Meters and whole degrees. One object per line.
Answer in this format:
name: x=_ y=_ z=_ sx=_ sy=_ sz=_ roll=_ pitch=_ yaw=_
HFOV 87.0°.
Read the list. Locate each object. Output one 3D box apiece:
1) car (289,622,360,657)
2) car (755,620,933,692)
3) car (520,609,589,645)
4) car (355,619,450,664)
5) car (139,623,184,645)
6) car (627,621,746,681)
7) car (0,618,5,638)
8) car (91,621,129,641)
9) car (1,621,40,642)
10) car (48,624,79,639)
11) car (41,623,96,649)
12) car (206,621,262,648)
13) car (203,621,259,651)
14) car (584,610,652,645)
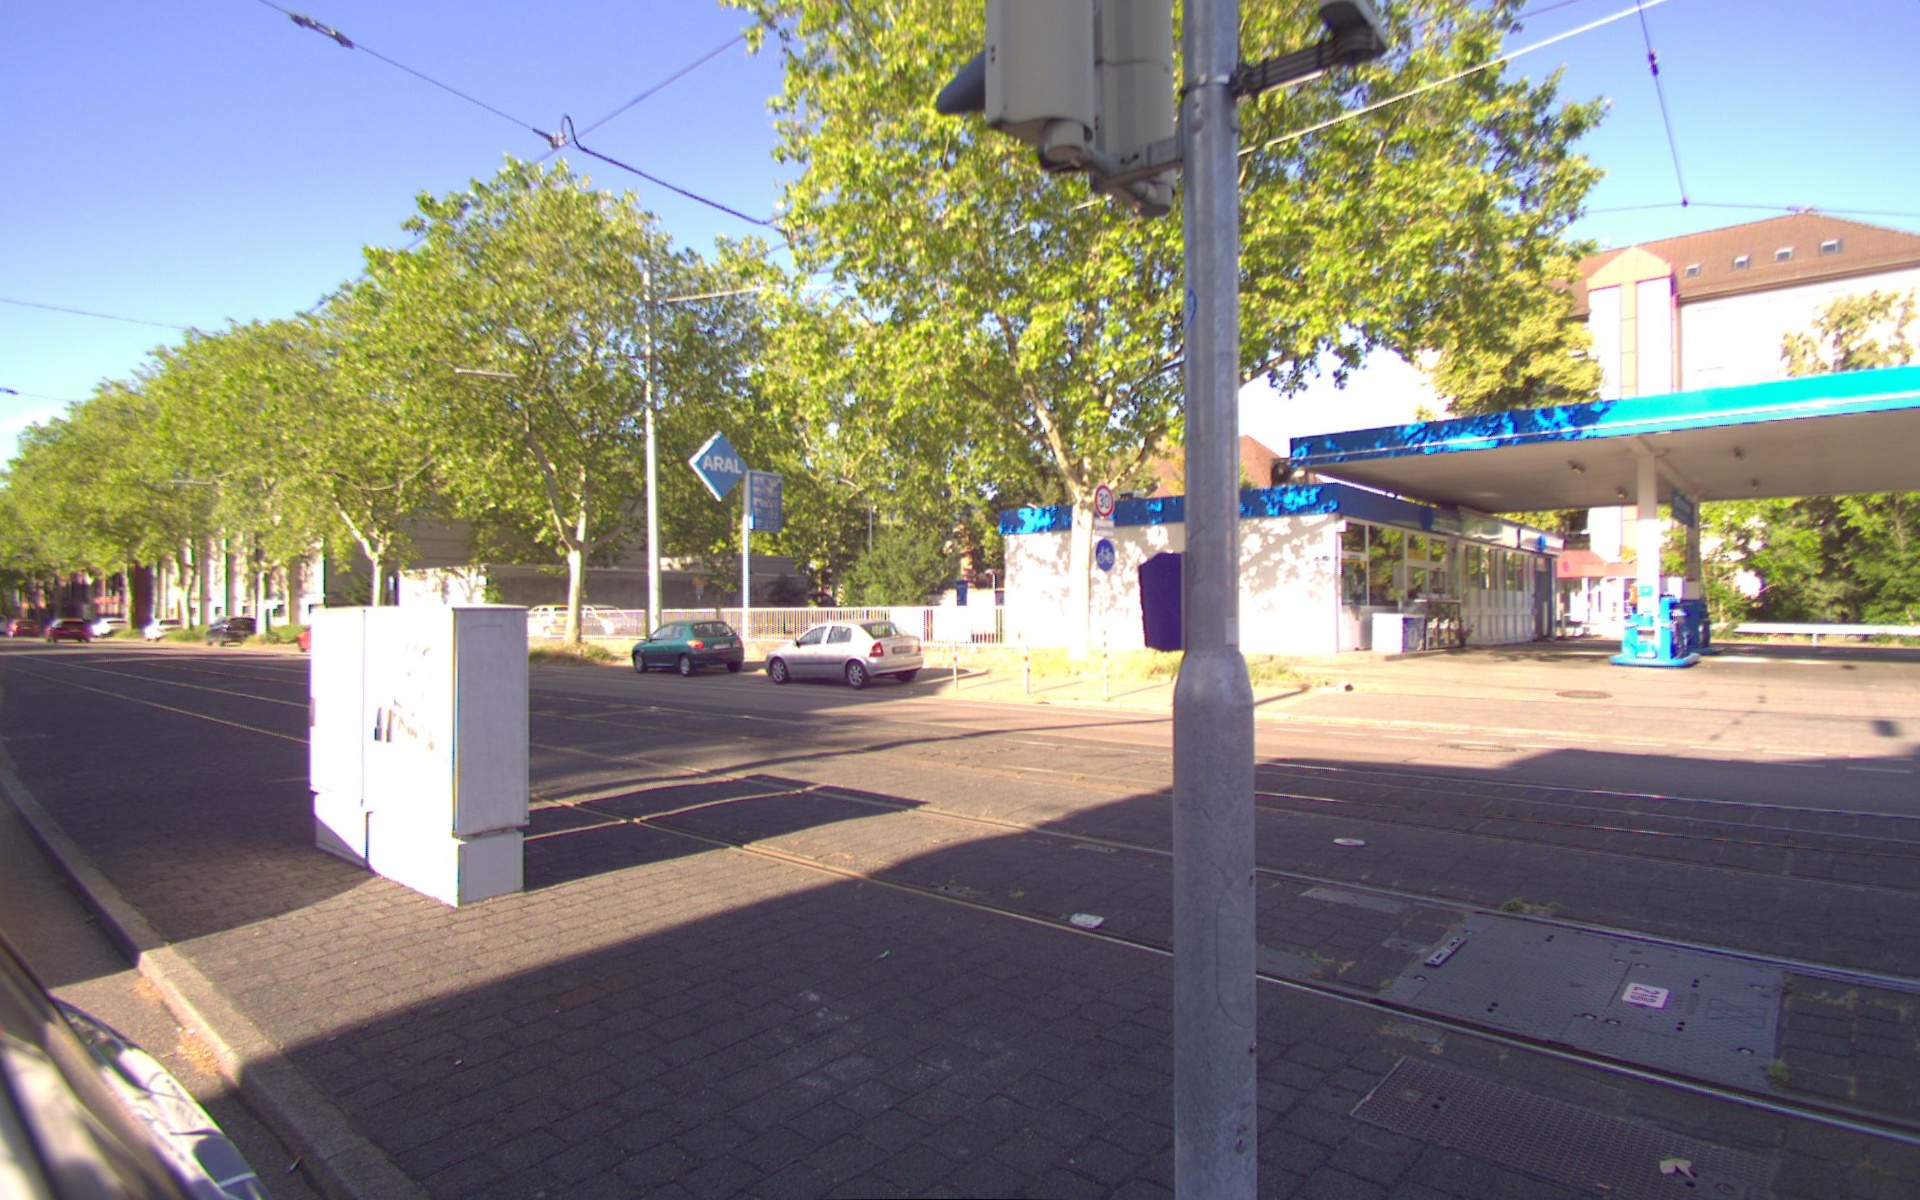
car: x=-29.062 y=1.779 z=46.247 sx=3.998 sy=1.480 sz=1.678 roll=0 pitch=-1 yaw=41
car: x=-2.655 y=1.183 z=22.642 sx=3.998 sy=1.431 sz=1.709 roll=-1 pitch=0 yaw=41
car: x=-16.858 y=1.097 z=41.986 sx=3.151 sy=1.431 sz=1.525 roll=-1 pitch=0 yaw=44
car: x=-22.150 y=1.607 z=40.144 sx=4.431 sy=1.534 sz=1.731 roll=-1 pitch=3 yaw=40
car: x=-53.814 y=2.293 z=68.184 sx=3.998 sy=1.420 sz=1.678 roll=-1 pitch=-2 yaw=41
car: x=-7.285 y=1.301 z=26.848 sx=3.253 sy=1.431 sz=1.526 roll=-1 pitch=0 yaw=41
car: x=-91.080 y=2.576 z=94.787 sx=4.390 sy=1.860 sz=1.827 roll=-1 pitch=-2 yaw=39
car: x=-66.816 y=2.417 z=79.531 sx=3.998 sy=1.569 sz=1.678 roll=-1 pitch=-2 yaw=41
car: x=-73.670 y=2.469 z=79.366 sx=3.998 sy=1.430 sz=1.678 roll=-1 pitch=-8 yaw=41
car: x=-85.189 y=2.977 z=96.145 sx=3.998 sy=1.420 sz=1.678 roll=-1 pitch=-2 yaw=41
car: x=-56.509 y=2.272 z=64.125 sx=4.761 sy=1.534 sz=1.887 roll=-1 pitch=-2 yaw=40
car: x=-40.603 y=1.889 z=56.562 sx=3.998 sy=1.420 sz=1.678 roll=-1 pitch=-2 yaw=41
car: x=-40.738 y=1.982 z=56.521 sx=3.998 sy=1.587 sz=1.678 roll=-1 pitch=-2 yaw=41
car: x=-14.704 y=1.149 z=43.459 sx=3.151 sy=1.431 sz=1.525 roll=-1 pitch=0 yaw=44
